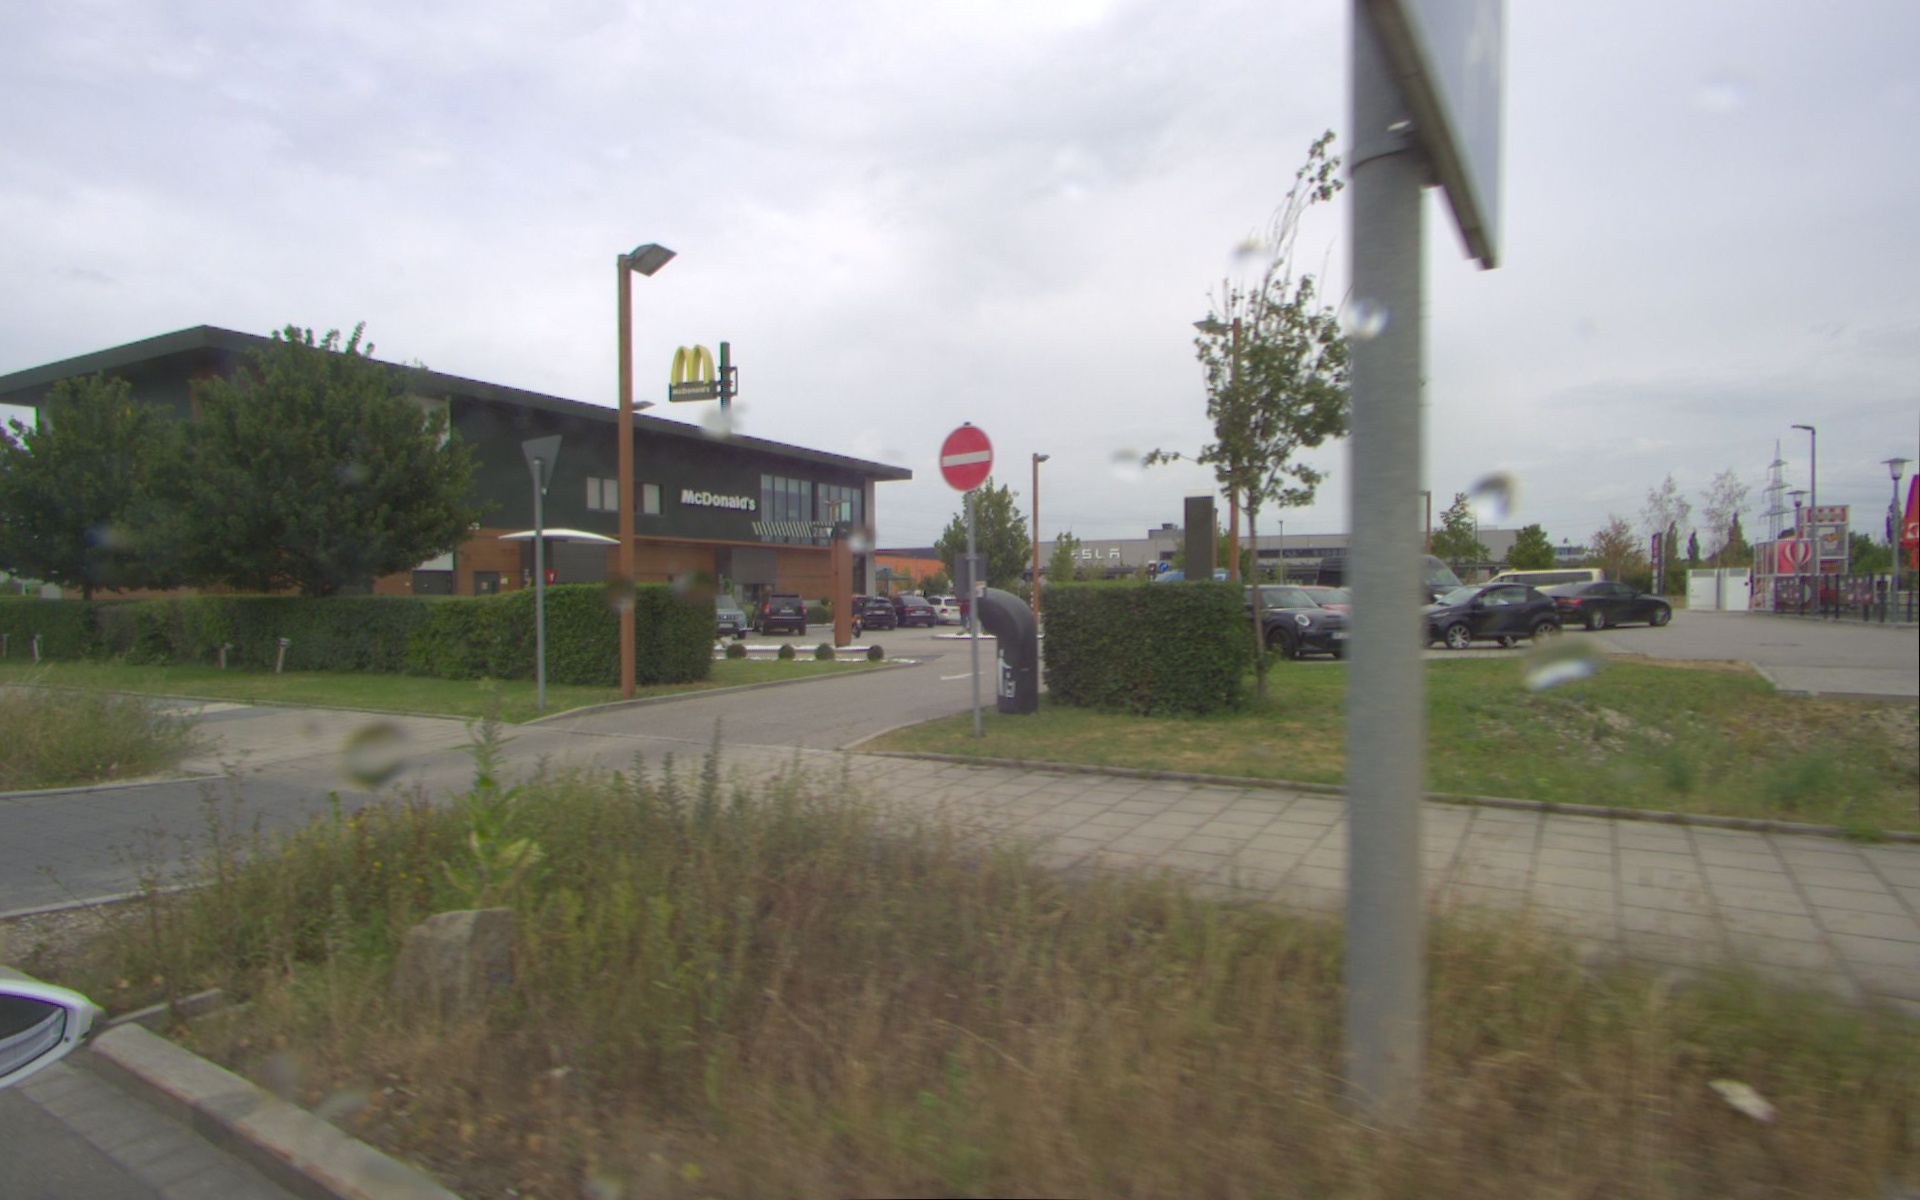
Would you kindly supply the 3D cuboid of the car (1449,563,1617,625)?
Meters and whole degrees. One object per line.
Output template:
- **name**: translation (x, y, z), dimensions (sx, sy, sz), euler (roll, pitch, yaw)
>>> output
- **car**: translation (23.567, -0.232, 41.305), dimensions (5.628, 2.382, 2.514), euler (0, 1, 42)

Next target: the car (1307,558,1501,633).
- **car**: translation (16.491, -0.178, 37.851), dimensions (2.243, 2.535, 7.307), euler (-1, 1, -20)

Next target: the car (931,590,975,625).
- **car**: translation (-0.320, 0.407, 51.978), dimensions (1.961, 1.745, 4.000), euler (0, 0, 5)

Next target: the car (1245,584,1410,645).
- **car**: translation (9.468, 0.327, 26.193), dimensions (1.970, 1.448, 4.146), euler (-1, 1, -16)

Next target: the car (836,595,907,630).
- **car**: translation (-4.084, 0.561, 45.671), dimensions (1.764, 1.517, 3.980), euler (0, 0, -29)

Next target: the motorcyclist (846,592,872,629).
- **motorcyclist**: translation (-3.744, 0.384, 37.114), dimensions (0.769, 1.352, 0.893), euler (-1, 1, -21)

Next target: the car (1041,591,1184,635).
- **car**: translation (5.435, 0.450, 35.777), dimensions (4.652, 1.463, 1.995), euler (-1, 0, -20)

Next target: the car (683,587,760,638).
- **car**: translation (-8.761, 0.448, 36.572), dimensions (1.969, 1.739, 3.984), euler (0, 0, -25)

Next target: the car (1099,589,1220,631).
- **car**: translation (8.399, 0.386, 42.181), dimensions (4.654, 1.679, 1.994), euler (-1, 1, -22)

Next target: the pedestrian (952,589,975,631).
- **pedestrian**: translation (0.126, 0.354, 35.351), dimensions (0.755, 1.458, 0.624), euler (-1, 1, -3)

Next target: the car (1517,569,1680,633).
- **car**: translation (19.502, 0.012, 30.613), dimensions (4.302, 1.726, 2.001), euler (-2, 1, -20)

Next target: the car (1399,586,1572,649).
- **car**: translation (11.536, 0.377, 22.076), dimensions (3.030, 1.327, 1.525), euler (0, 0, -5)

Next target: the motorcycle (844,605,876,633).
- **motorcycle**: translation (-3.713, 0.697, 37.050), dimensions (0.728, 0.998, 1.818), euler (-1, 0, -21)

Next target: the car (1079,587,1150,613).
- **car**: translation (11.139, 0.022, 72.279), dimensions (4.688, 1.803, 1.948), euler (-1, 1, 27)

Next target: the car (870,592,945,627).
- **car**: translation (-2.592, 0.460, 48.413), dimensions (1.972, 1.602, 3.977), euler (0, 0, -31)

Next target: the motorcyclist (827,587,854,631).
- **motorcyclist**: translation (-5.122, 0.395, 42.869), dimensions (0.949, 1.856, 0.842), euler (0, 0, -25)

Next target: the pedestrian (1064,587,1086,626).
- **pedestrian**: translation (4.971, 0.275, 43.186), dimensions (0.674, 1.649, 0.738), euler (0, 0, -25)

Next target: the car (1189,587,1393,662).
- **car**: translation (6.445, 0.425, 19.919), dimensions (1.787, 1.330, 3.836), euler (-1, 1, -23)

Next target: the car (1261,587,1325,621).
- **car**: translation (15.112, 0.177, 45.266), dimensions (1.927, 1.463, 4.197), euler (0, 0, 31)

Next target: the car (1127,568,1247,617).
- **car**: translation (12.235, -0.413, 54.034), dimensions (5.936, 2.562, 2.278), euler (0, 1, -13)

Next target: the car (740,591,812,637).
- **car**: translation (-7.440, 0.547, 40.285), dimensions (2.087, 1.739, 4.218), euler (0, 0, -22)

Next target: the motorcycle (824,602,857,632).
- **motorcycle**: translation (-5.121, 0.702, 42.844), dimensions (0.845, 1.261, 1.959), euler (0, 0, -24)
